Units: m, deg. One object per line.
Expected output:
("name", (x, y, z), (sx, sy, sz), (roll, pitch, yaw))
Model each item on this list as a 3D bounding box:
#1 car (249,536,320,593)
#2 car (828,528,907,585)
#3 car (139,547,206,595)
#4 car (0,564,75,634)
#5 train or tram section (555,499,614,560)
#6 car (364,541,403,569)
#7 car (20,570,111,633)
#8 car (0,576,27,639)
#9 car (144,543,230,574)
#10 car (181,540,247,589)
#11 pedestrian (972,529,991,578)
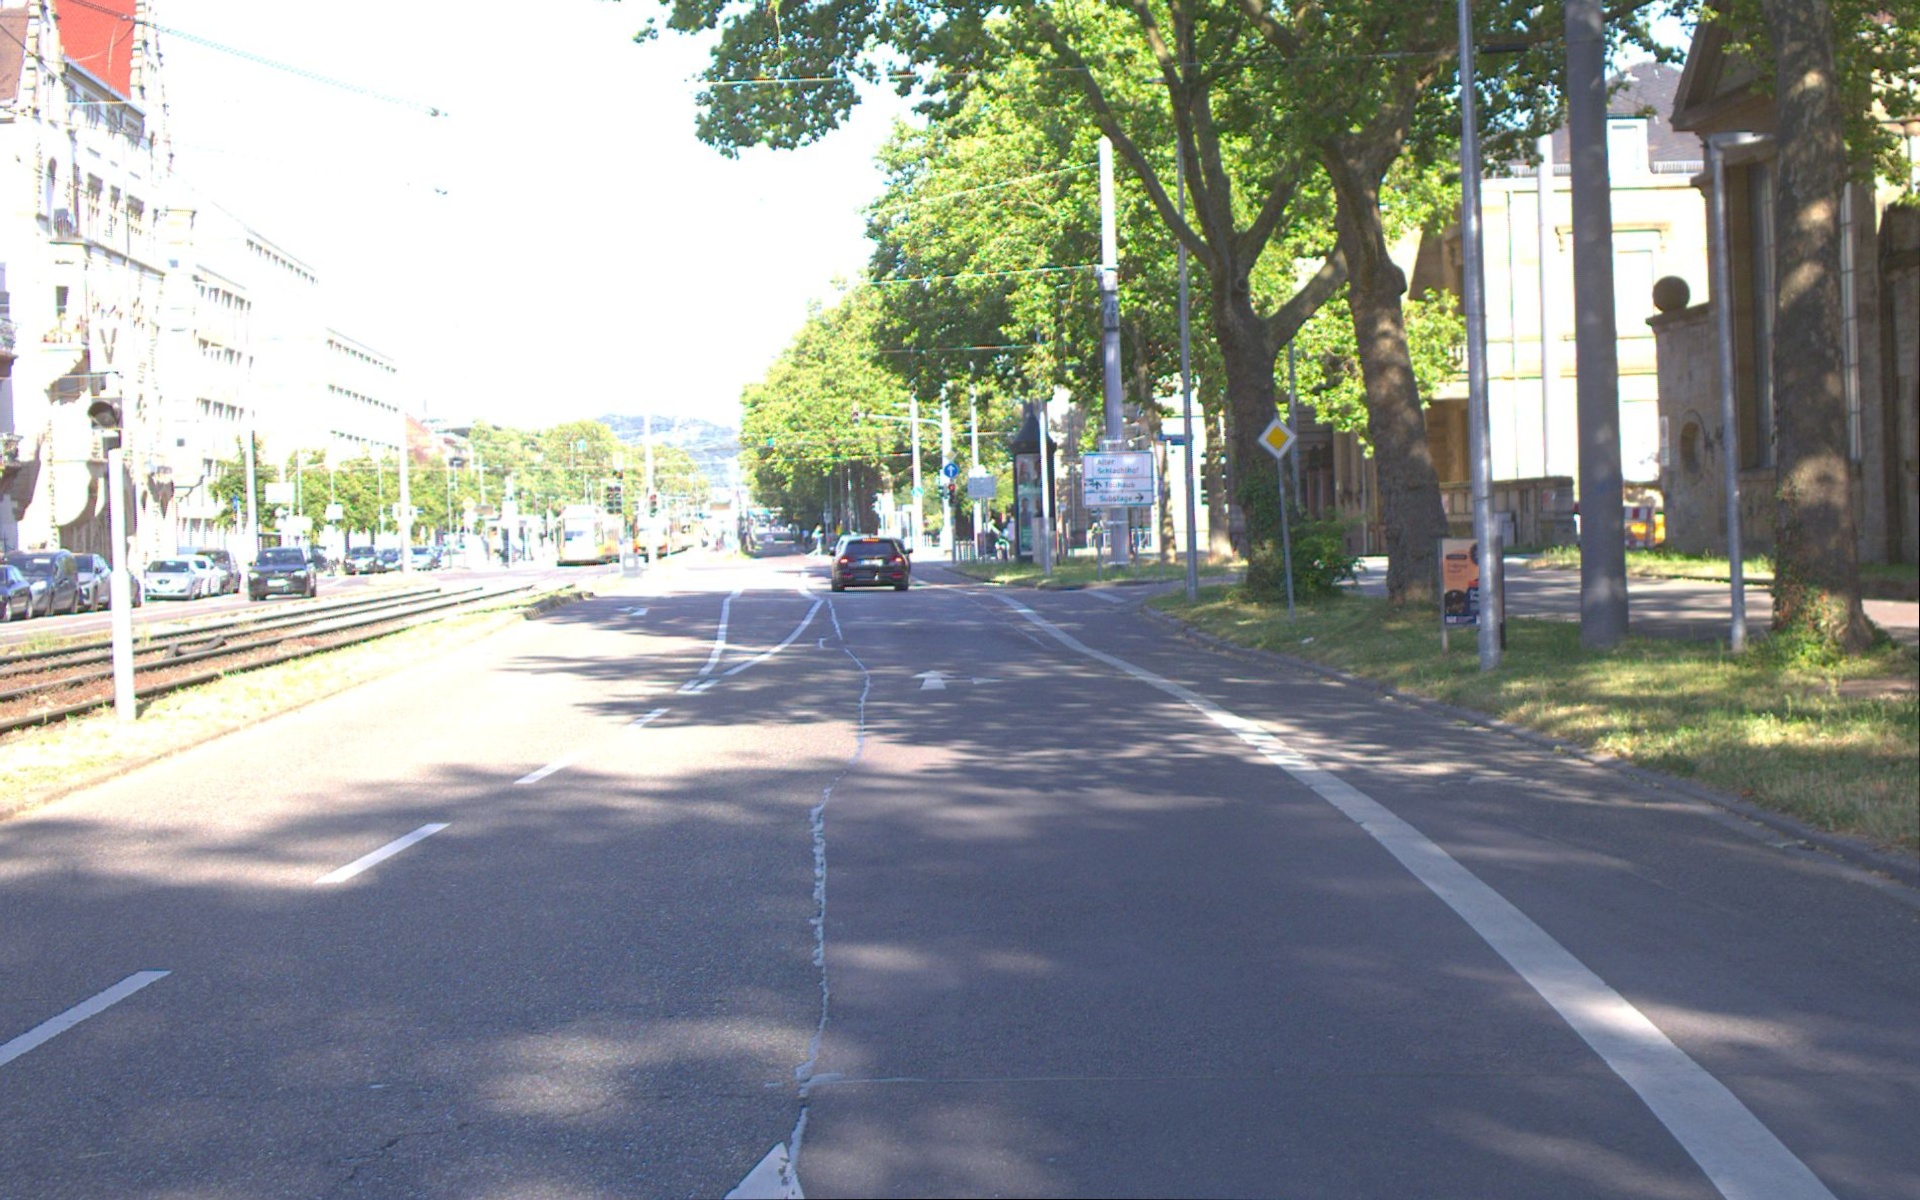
("car", (-20.627, -1.113, 105.091), (1.635, 1.596, 4.160), (-3, 2, -5))
("car", (-2.397, -1.134, 88.223), (1.833, 1.386, 4.160), (-1, 1, -4))
("car", (-26.350, -0.976, 115.063), (1.794, 1.505, 4.001), (1, 1, -8))
("car", (-25.097, -0.043, 91.787), (1.794, 1.748, 4.455), (1, 1, 0))
("train or tram section", (-22.112, -4.152, 202.897), (2.825, 3.439, 9.065), (-2, 1, -3))
("car", (-32.262, -2.534, 192.523), (1.794, 1.505, 4.001), (-2, 1, -5))
("car", (-25.327, 0.030, 97.486), (1.686, 1.646, 4.200), (1, 1, -3))
("car", (-24.889, 0.172, 86.720), (1.794, 1.505, 4.001), (1, 1, -3))
("car", (-38.113, -2.039, 169.592), (3.986, 1.505, 1.800), (0, 0, -8))
("car", (-27.358, -1.322, 126.146), (1.794, 1.713, 4.186), (1, 1, -4))
("pedestrian", (0.760, -1.661, 122.032), (0.588, 1.722, 0.650), (0, 1, 10))
